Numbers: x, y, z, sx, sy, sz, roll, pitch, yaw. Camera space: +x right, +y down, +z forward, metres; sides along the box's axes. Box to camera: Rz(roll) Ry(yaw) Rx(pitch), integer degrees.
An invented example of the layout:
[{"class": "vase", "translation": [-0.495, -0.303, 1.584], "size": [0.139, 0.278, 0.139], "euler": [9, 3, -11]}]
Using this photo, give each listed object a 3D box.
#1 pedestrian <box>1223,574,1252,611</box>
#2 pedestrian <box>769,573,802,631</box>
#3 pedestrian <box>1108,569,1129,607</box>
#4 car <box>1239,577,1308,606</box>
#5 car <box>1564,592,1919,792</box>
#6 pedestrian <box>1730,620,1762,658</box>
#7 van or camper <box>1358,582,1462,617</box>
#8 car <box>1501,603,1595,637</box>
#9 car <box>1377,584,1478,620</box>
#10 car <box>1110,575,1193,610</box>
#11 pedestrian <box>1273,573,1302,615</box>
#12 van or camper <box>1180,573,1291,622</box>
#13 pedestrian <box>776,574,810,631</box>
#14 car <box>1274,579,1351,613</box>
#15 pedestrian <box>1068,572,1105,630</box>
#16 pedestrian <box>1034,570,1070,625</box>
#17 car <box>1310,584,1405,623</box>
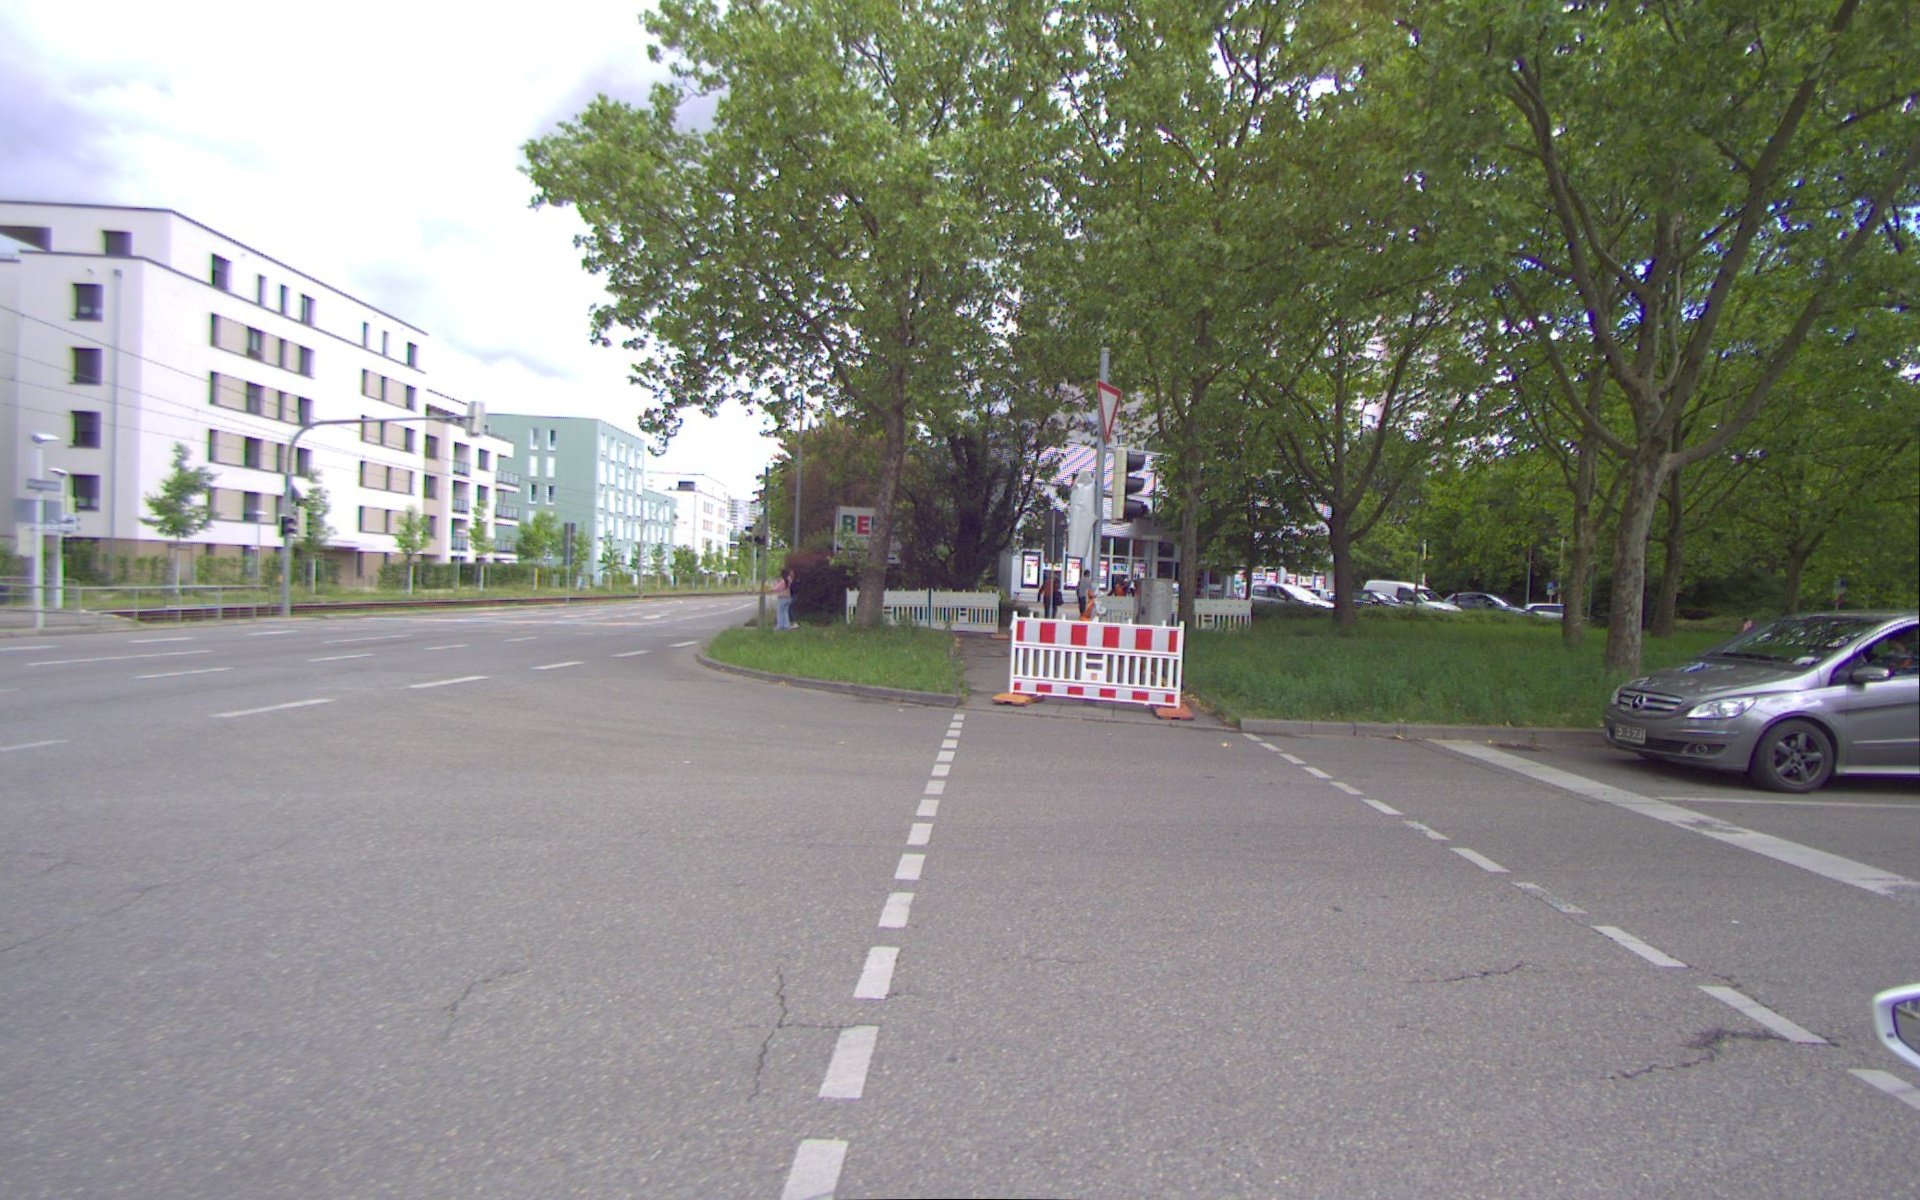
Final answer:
[{"class": "pedestrian", "translation": [14.386, -0.380, 52.148], "size": [1.056, 1.896, 1.057], "euler": [2, 0, -11]}, {"class": "pedestrian", "translation": [-4.636, 0.051, 26.709], "size": [0.674, 1.509, 0.700], "euler": [2, 0, 4]}, {"class": "pedestrian", "translation": [7.568, -0.579, 48.007], "size": [0.613, 1.768, 0.733], "euler": [2, 0, -31]}, {"class": "car", "translation": [16.692, -0.476, 53.622], "size": [1.467, 1.423, 3.382], "euler": [2, 0, -29]}, {"class": "car", "translation": [8.325, 0.815, 9.322], "size": [4.325, 1.607, 1.772], "euler": [2, 0, 0]}, {"class": "pedestrian", "translation": [43.027, 2.121, 54.999], "size": [1.074, 1.976, 0.976], "euler": [3, 1, -35]}, {"class": "van or camper", "translation": [18.783, -0.049, 42.075], "size": [1.501, 1.374, 3.742], "euler": [2, 0, -31]}, {"class": "car", "translation": [29.337, 0.981, 50.223], "size": [1.711, 1.520, 3.721], "euler": [2, 0, -25]}, {"class": "car", "translation": [20.504, 0.066, 44.196], "size": [1.467, 1.485, 3.861], "euler": [2, 0, -29]}, {"class": "car", "translation": [9.090, -0.365, 48.040], "size": [1.711, 1.520, 4.241], "euler": [2, 0, -25]}, {"class": "pedestrian", "translation": [13.075, -0.243, 40.142], "size": [0.781, 1.607, 0.798], "euler": [2, 0, -7]}, {"class": "van or camper", "translation": [10.220, -0.121, 37.504], "size": [1.822, 1.706, 3.973], "euler": [1, 1, -26]}, {"class": "pedestrian", "translation": [-4.563, 0.070, 27.425], "size": [0.706, 1.509, 0.700], "euler": [2, 0, 5]}, {"class": "car", "translation": [19.330, -0.242, 55.239], "size": [1.653, 1.656, 3.792], "euler": [2, 2, -29]}, {"class": "pedestrian", "translation": [3.649, 0.025, 28.896], "size": [0.781, 1.607, 0.850], "euler": [2, 0, 25]}, {"class": "pedestrian", "translation": [2.693, -0.072, 29.387], "size": [0.760, 1.559, 0.653], "euler": [2, 0, 35]}, {"class": "car", "translation": [15.928, 0.118, 40.345], "size": [1.466, 1.423, 3.383], "euler": [2, 0, -28]}]
